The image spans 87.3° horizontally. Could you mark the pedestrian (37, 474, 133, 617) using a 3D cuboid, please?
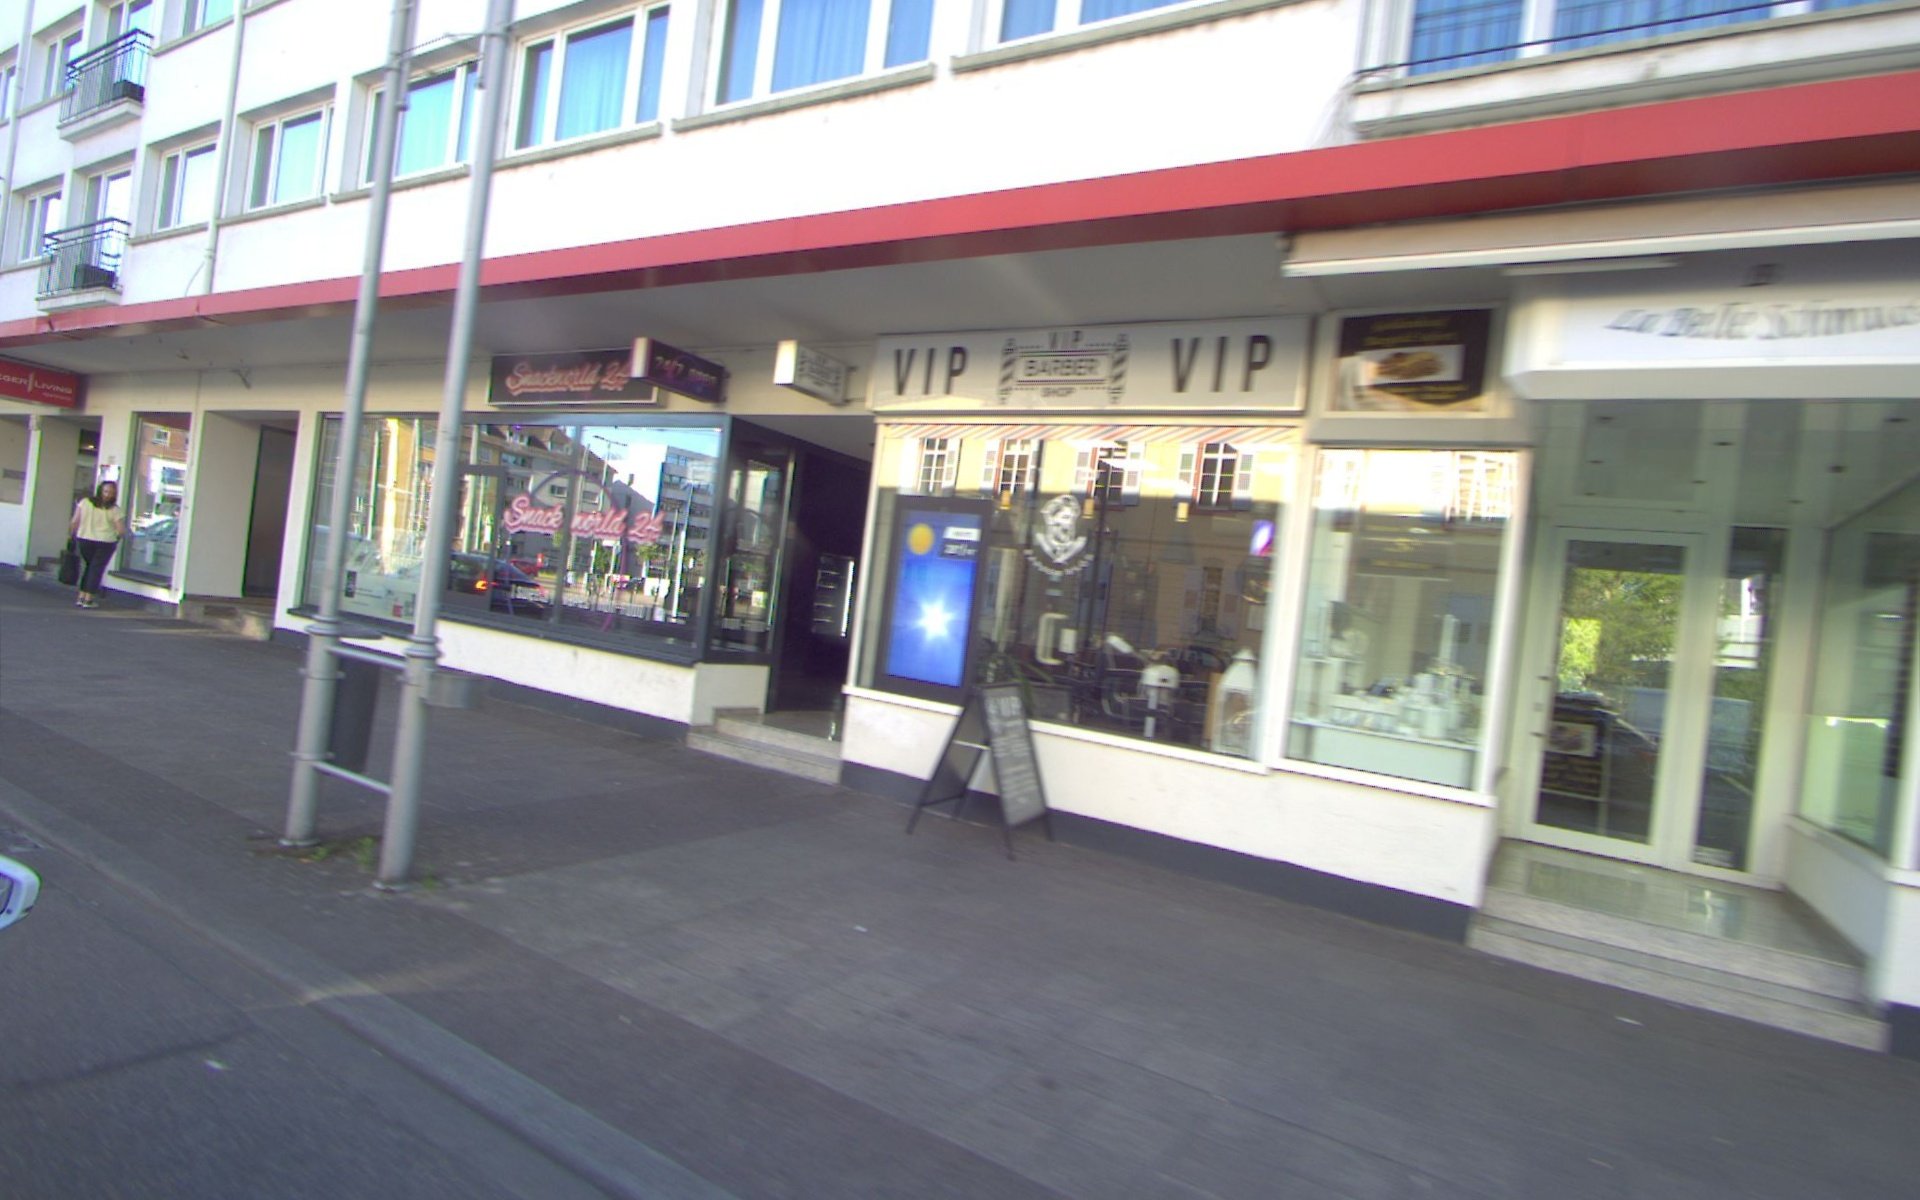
[{"bbox_3d":[-11.913,-0.737,13.693,0.801,1.796,0.921,7,0,-44],"label":"pedestrian"}]
